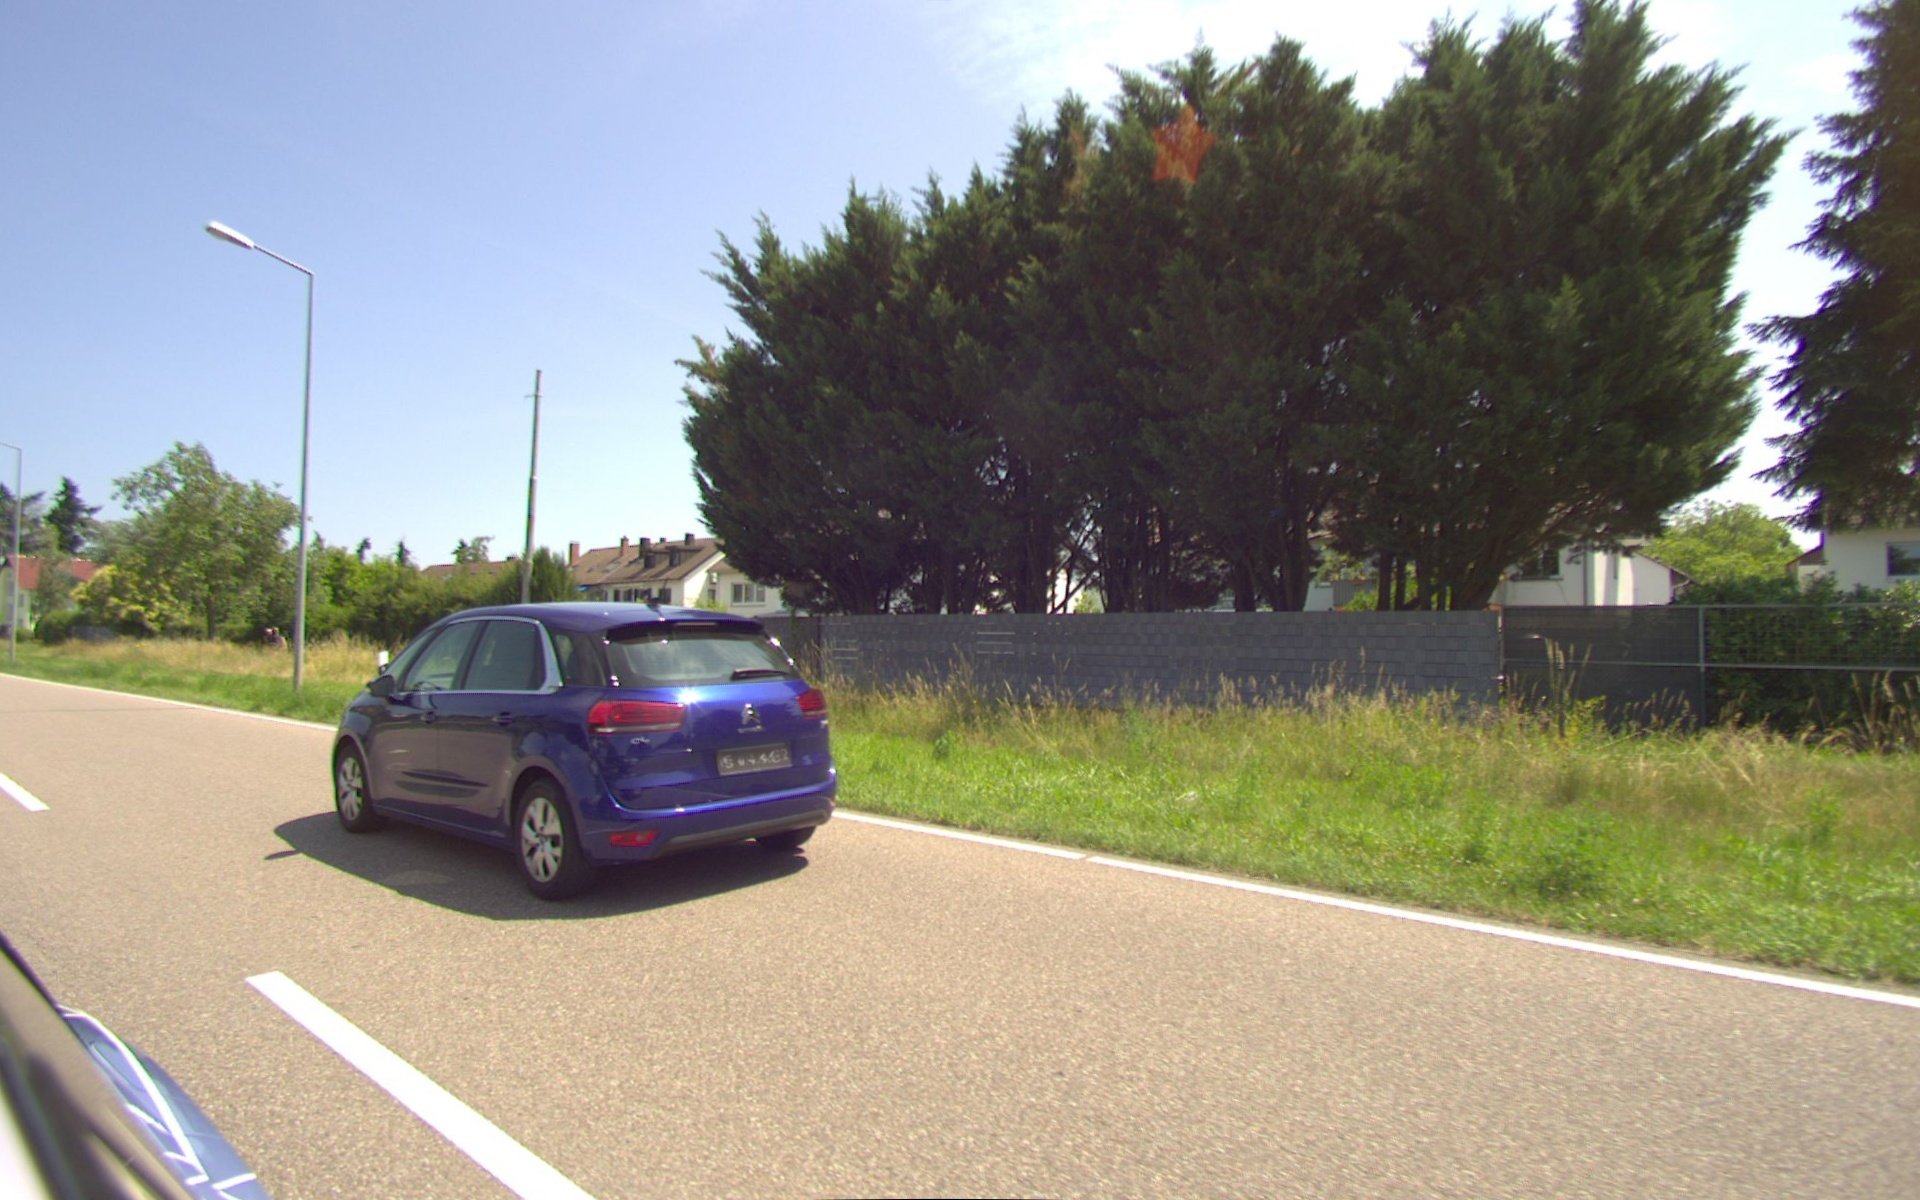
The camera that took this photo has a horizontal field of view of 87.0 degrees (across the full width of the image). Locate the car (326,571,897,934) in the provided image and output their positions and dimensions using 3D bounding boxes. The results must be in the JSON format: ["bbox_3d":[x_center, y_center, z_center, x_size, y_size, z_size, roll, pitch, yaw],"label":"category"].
[{"bbox_3d":[-2.444,0.745,6.577,4.027,1.644,1.729,-2,-2,41],"label":"car"}]

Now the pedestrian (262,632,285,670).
[{"bbox_3d":[-27.641,2.045,40.747,0.633,1.489,0.603,-2,-2,39],"label":"pedestrian"}]
